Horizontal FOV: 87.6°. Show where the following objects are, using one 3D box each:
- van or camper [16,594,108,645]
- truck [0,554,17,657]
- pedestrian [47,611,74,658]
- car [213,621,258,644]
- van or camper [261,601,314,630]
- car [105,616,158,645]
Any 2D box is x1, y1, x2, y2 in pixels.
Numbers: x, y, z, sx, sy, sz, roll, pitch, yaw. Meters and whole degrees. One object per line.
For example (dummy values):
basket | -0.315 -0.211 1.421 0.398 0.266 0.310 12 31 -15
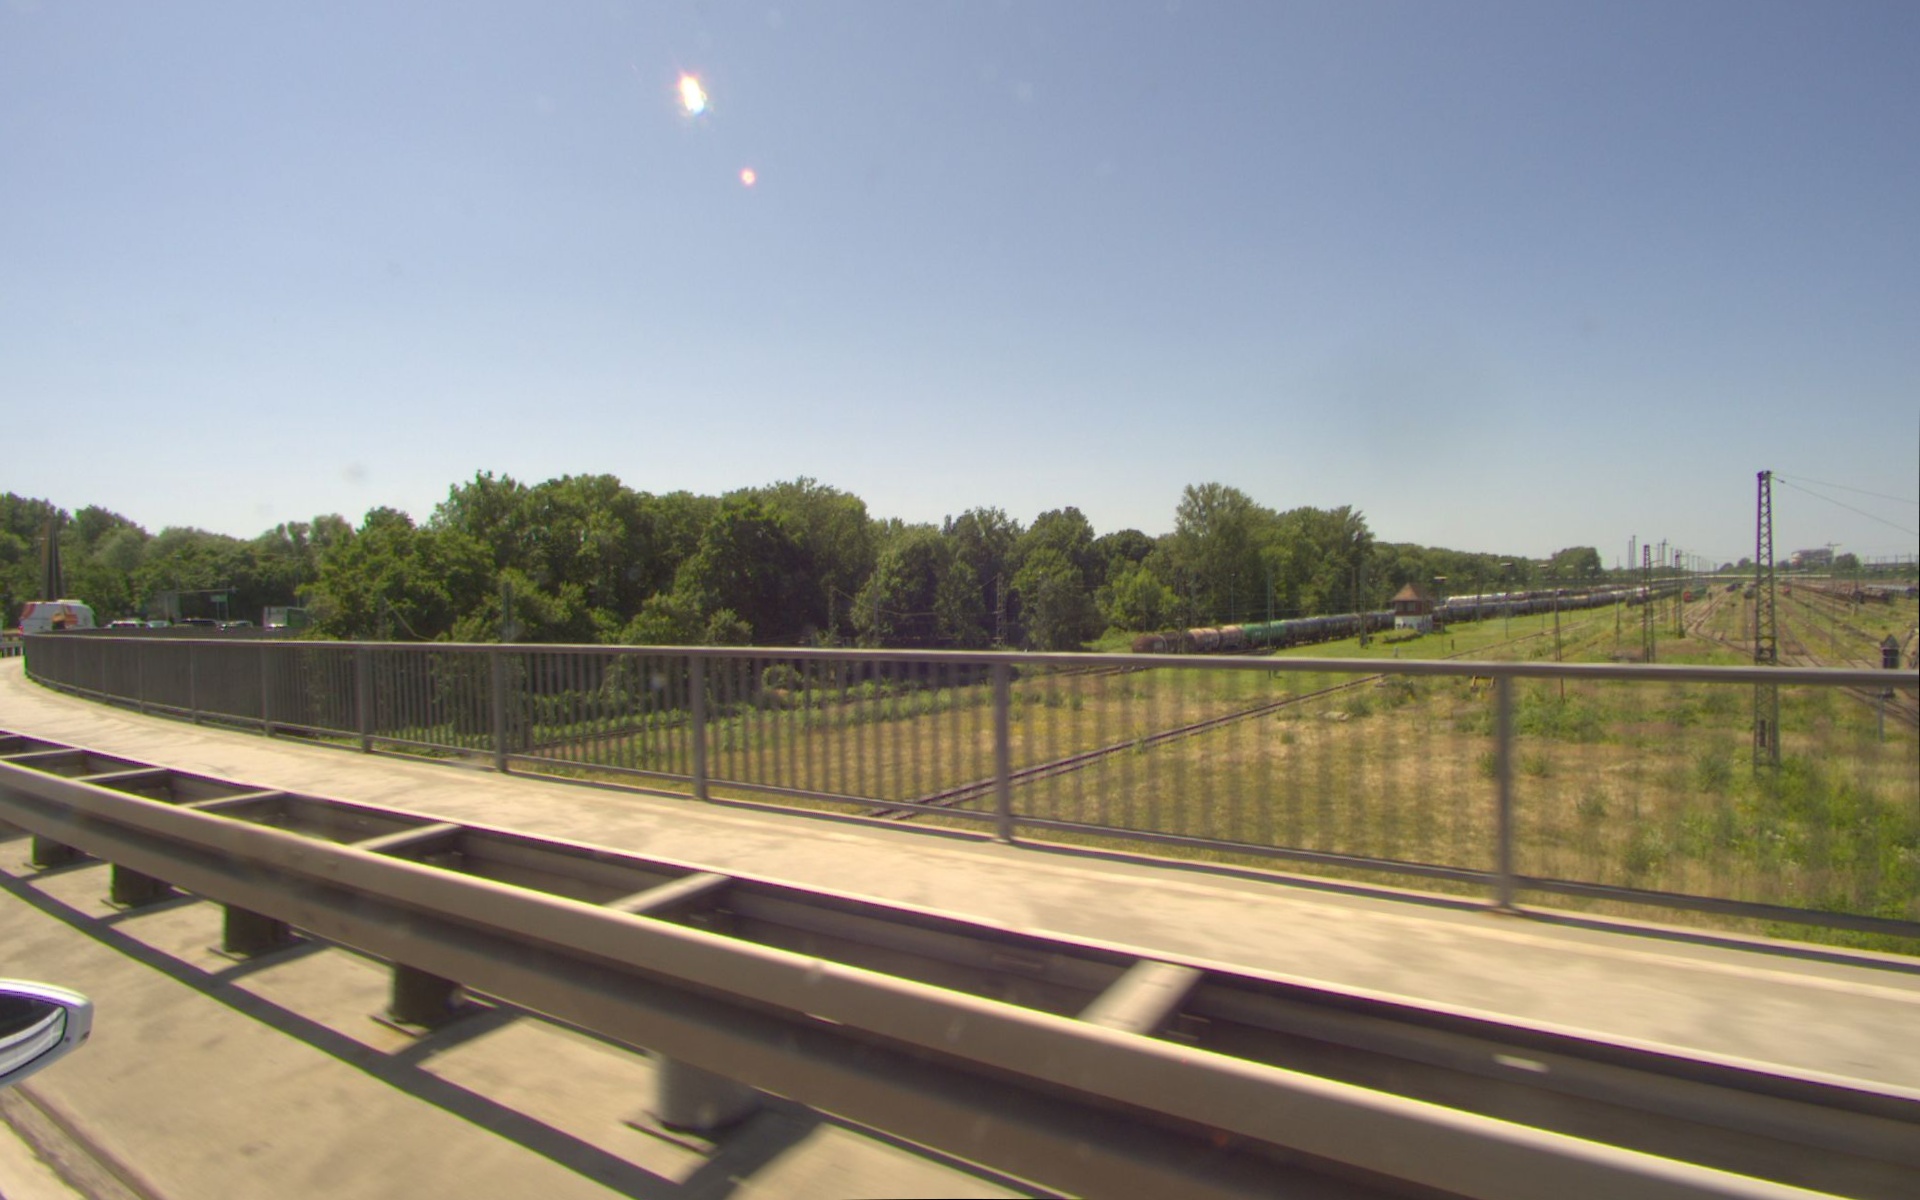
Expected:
van or camper | -51.016 1.131 57.069 2.175 2.746 5.905 1 -1 -24
truck | -44.322 0.223 43.838 3.139 4.643 7.352 1 -2 -34
pedestrian | -38.273 1.470 42.610 0.730 1.992 0.729 1 -2 -35
car | -61.484 2.749 85.064 1.861 1.873 3.995 0 -2 -17
van or camper | -68.758 1.633 102.545 2.446 2.318 4.964 5 -6 -9
car | -55.211 2.069 66.766 1.866 1.873 3.984 1 -2 -27
